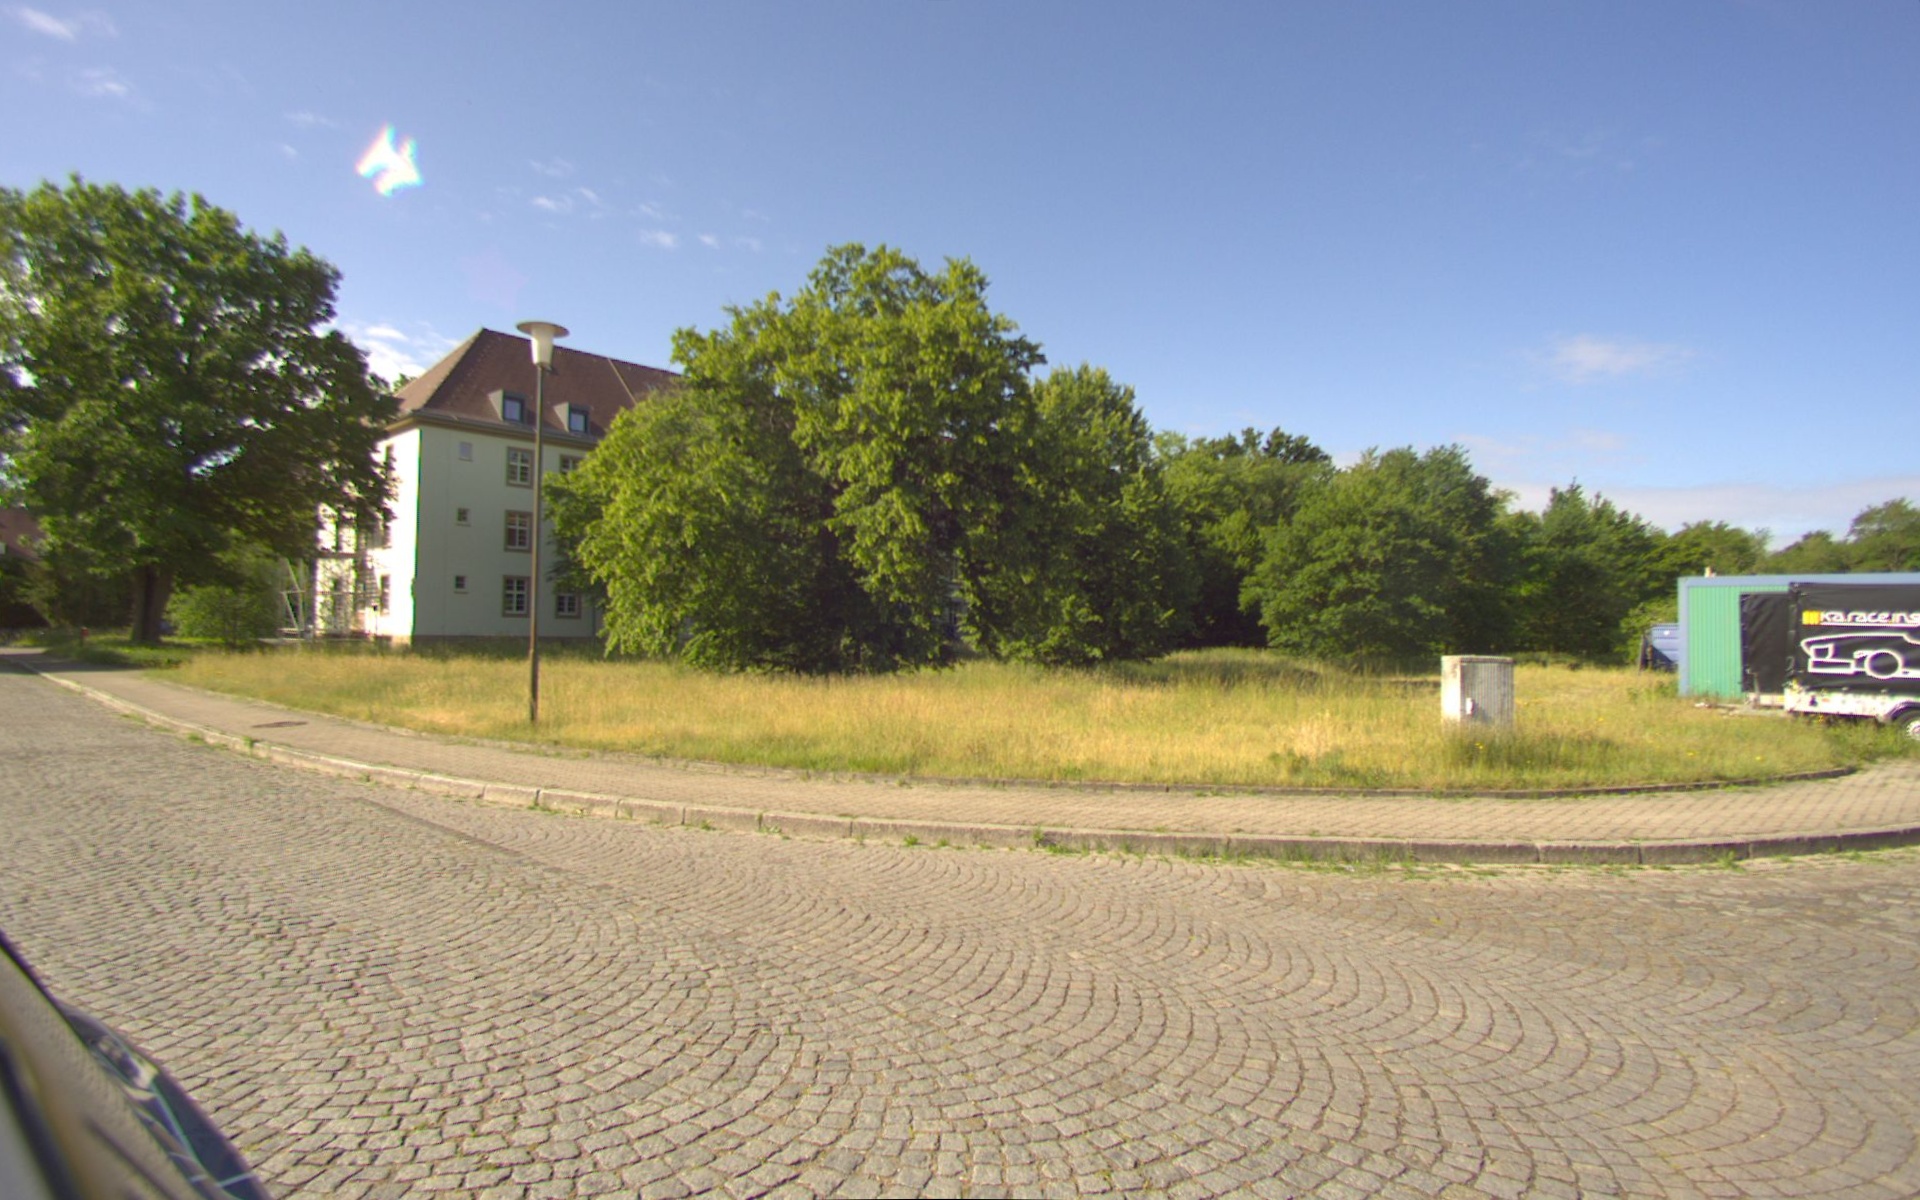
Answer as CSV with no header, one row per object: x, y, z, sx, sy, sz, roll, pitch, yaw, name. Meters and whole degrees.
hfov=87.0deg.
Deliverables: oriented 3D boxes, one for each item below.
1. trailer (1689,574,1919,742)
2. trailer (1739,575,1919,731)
13.554,0.830,14.821,4.468,2.290,1.985,0,-2,43,trailer
15.598,0.864,16.255,4.848,2.409,1.918,0,-2,38,trailer
